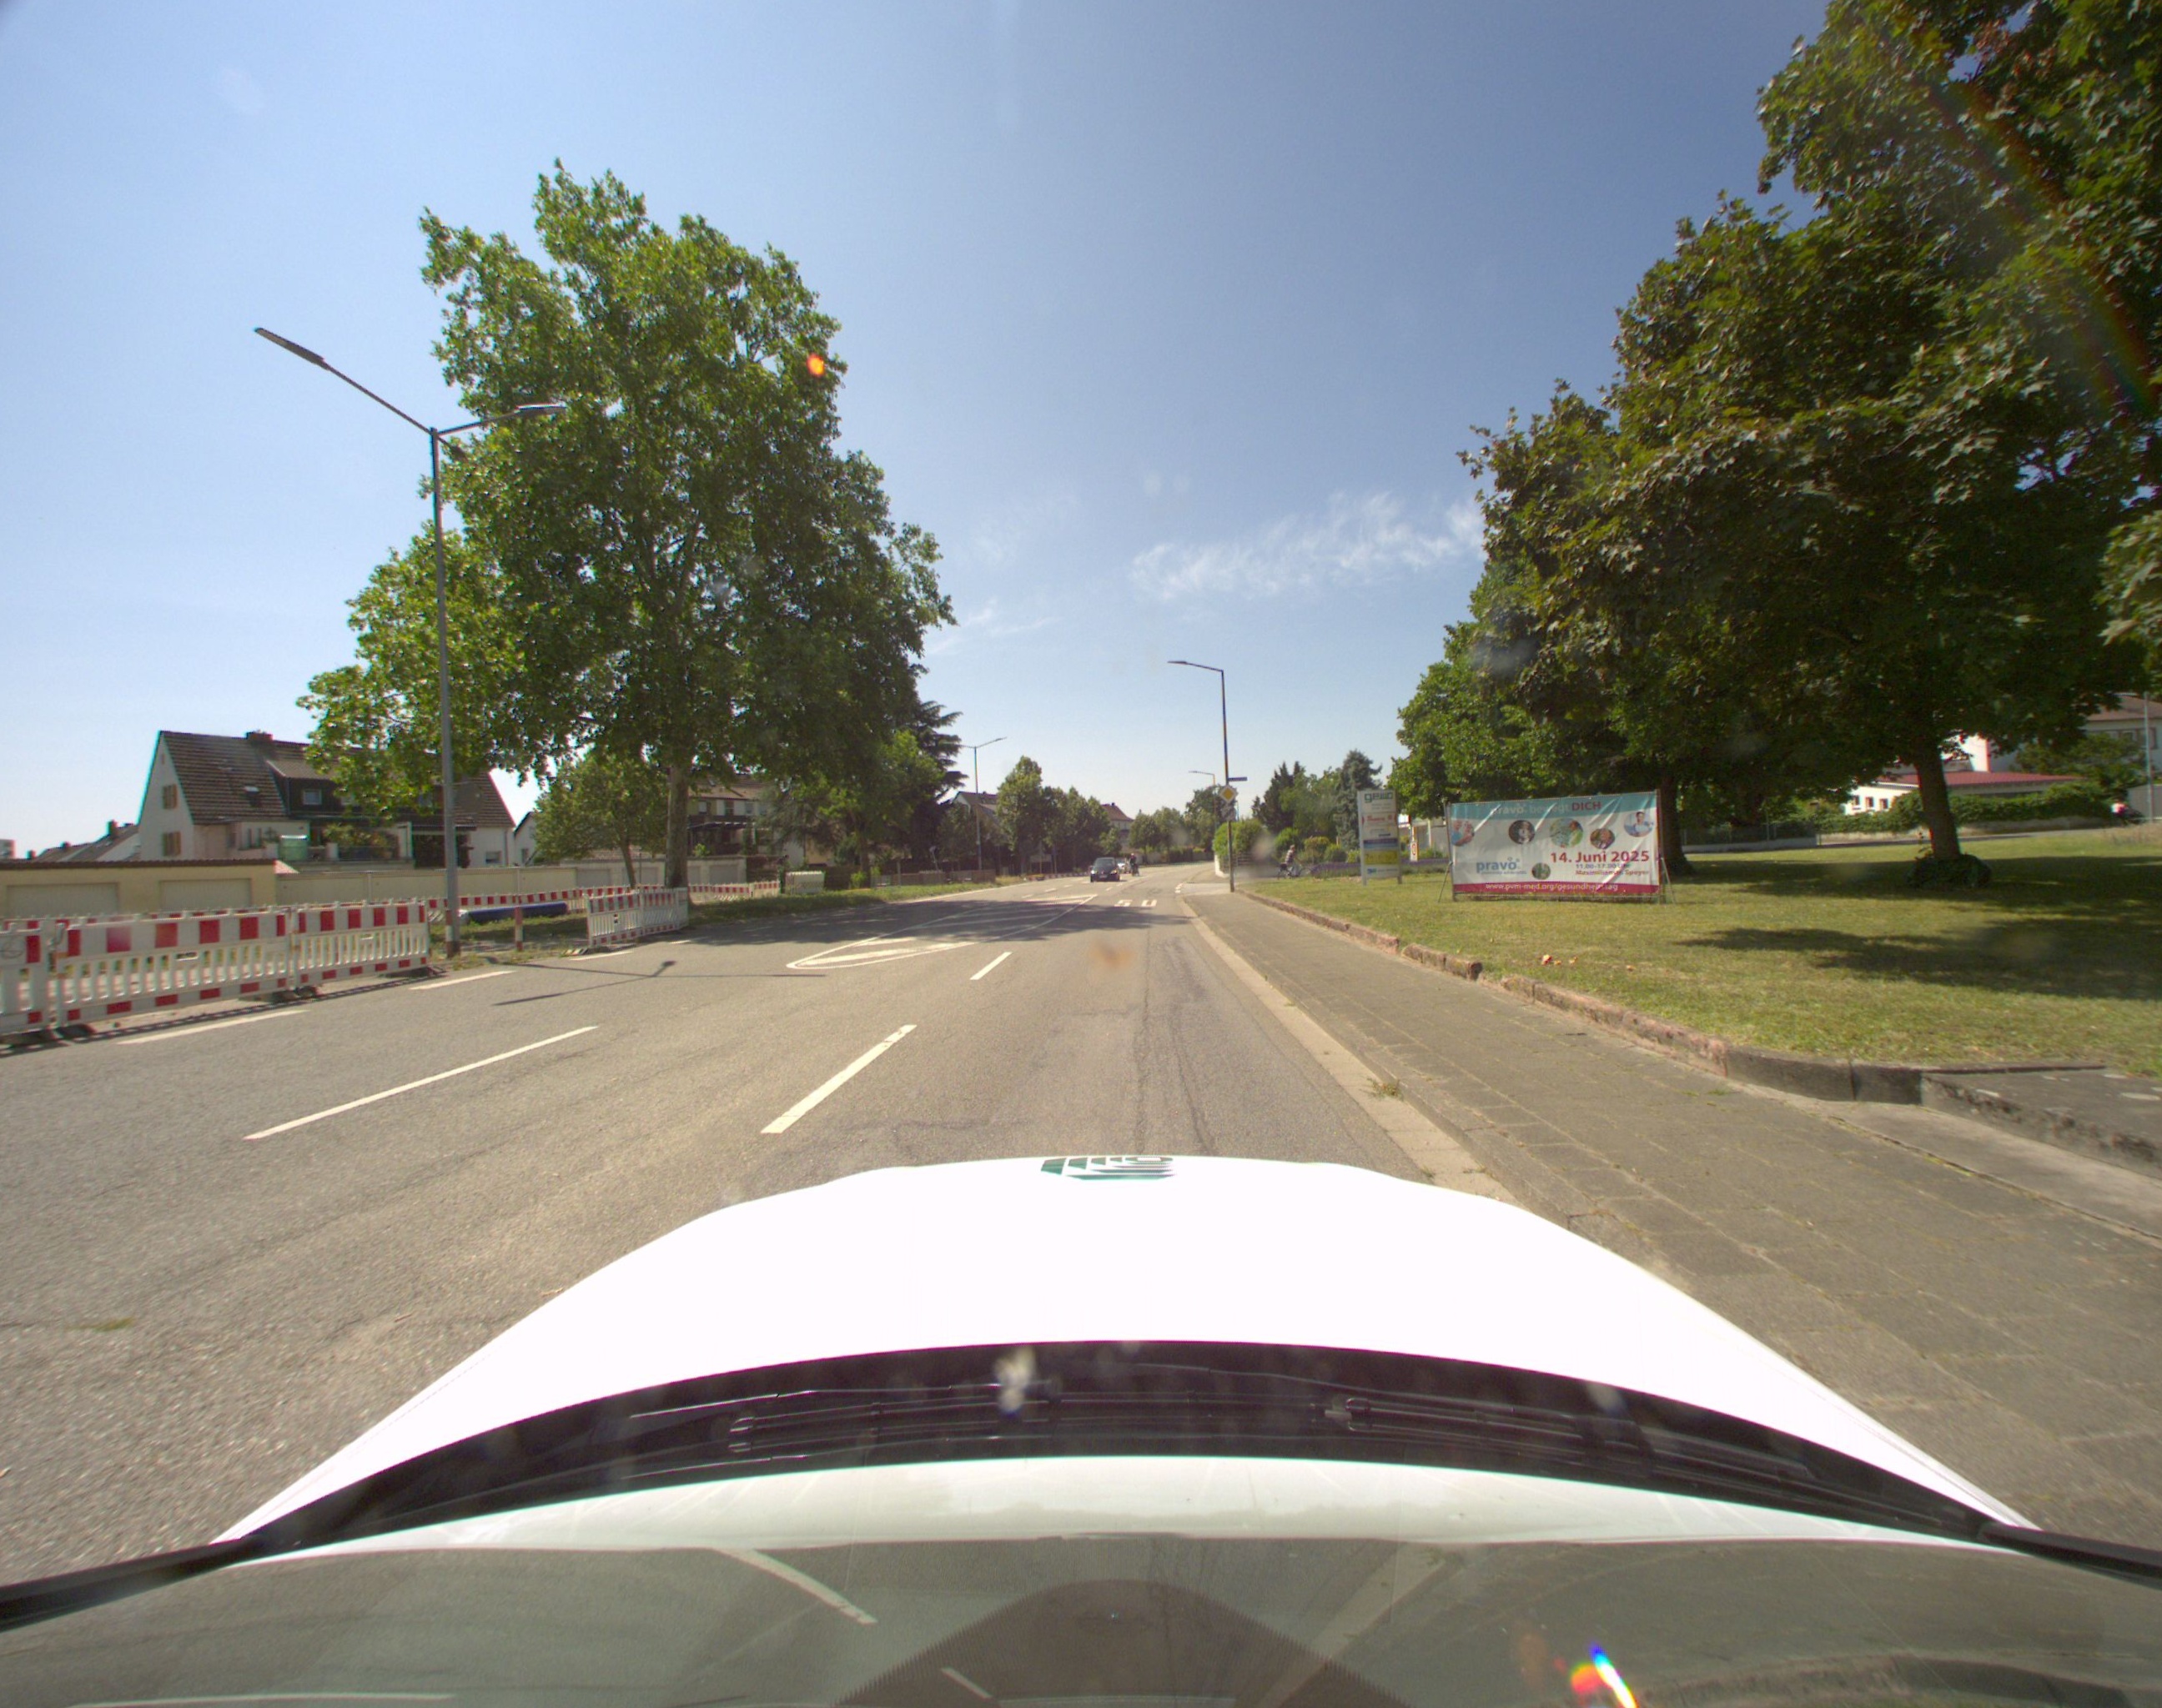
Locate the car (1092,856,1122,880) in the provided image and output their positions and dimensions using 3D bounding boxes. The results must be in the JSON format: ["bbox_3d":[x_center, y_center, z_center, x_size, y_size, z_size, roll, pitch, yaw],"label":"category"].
[{"bbox_3d":[1.787,0.941,54.705,1.717,1.532,3.836,-1,0,6],"label":"car"}]

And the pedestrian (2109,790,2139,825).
[{"bbox_3d":[56.818,-2.538,44.369,0.628,1.853,0.783,-1,-1,-4],"label":"pedestrian"}]

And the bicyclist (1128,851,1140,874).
[{"bbox_3d":[4.317,0.688,66.007,0.841,1.865,0.979,-2,-1,8],"label":"bicyclist"}]

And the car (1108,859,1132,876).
[{"bbox_3d":[3.771,1.291,78.768,1.687,1.510,3.471,-1,0,13],"label":"car"}]

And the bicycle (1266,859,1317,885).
[{"bbox_3d":[9.962,0.828,38.625,2.135,1.103,0.815,-3,-1,-4],"label":"bicycle"}]

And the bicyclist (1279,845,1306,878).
[{"bbox_3d":[10.028,0.359,38.640,0.924,1.530,0.855,-3,-1,-4],"label":"bicyclist"}]

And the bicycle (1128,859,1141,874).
[{"bbox_3d":[4.337,1.039,66.054,0.845,1.166,1.982,-2,-1,9],"label":"bicycle"}]

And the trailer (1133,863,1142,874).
[{"bbox_3d":[4.693,1.191,67.589,0.567,0.856,1.135,-3,-1,9],"label":"trailer"}]
